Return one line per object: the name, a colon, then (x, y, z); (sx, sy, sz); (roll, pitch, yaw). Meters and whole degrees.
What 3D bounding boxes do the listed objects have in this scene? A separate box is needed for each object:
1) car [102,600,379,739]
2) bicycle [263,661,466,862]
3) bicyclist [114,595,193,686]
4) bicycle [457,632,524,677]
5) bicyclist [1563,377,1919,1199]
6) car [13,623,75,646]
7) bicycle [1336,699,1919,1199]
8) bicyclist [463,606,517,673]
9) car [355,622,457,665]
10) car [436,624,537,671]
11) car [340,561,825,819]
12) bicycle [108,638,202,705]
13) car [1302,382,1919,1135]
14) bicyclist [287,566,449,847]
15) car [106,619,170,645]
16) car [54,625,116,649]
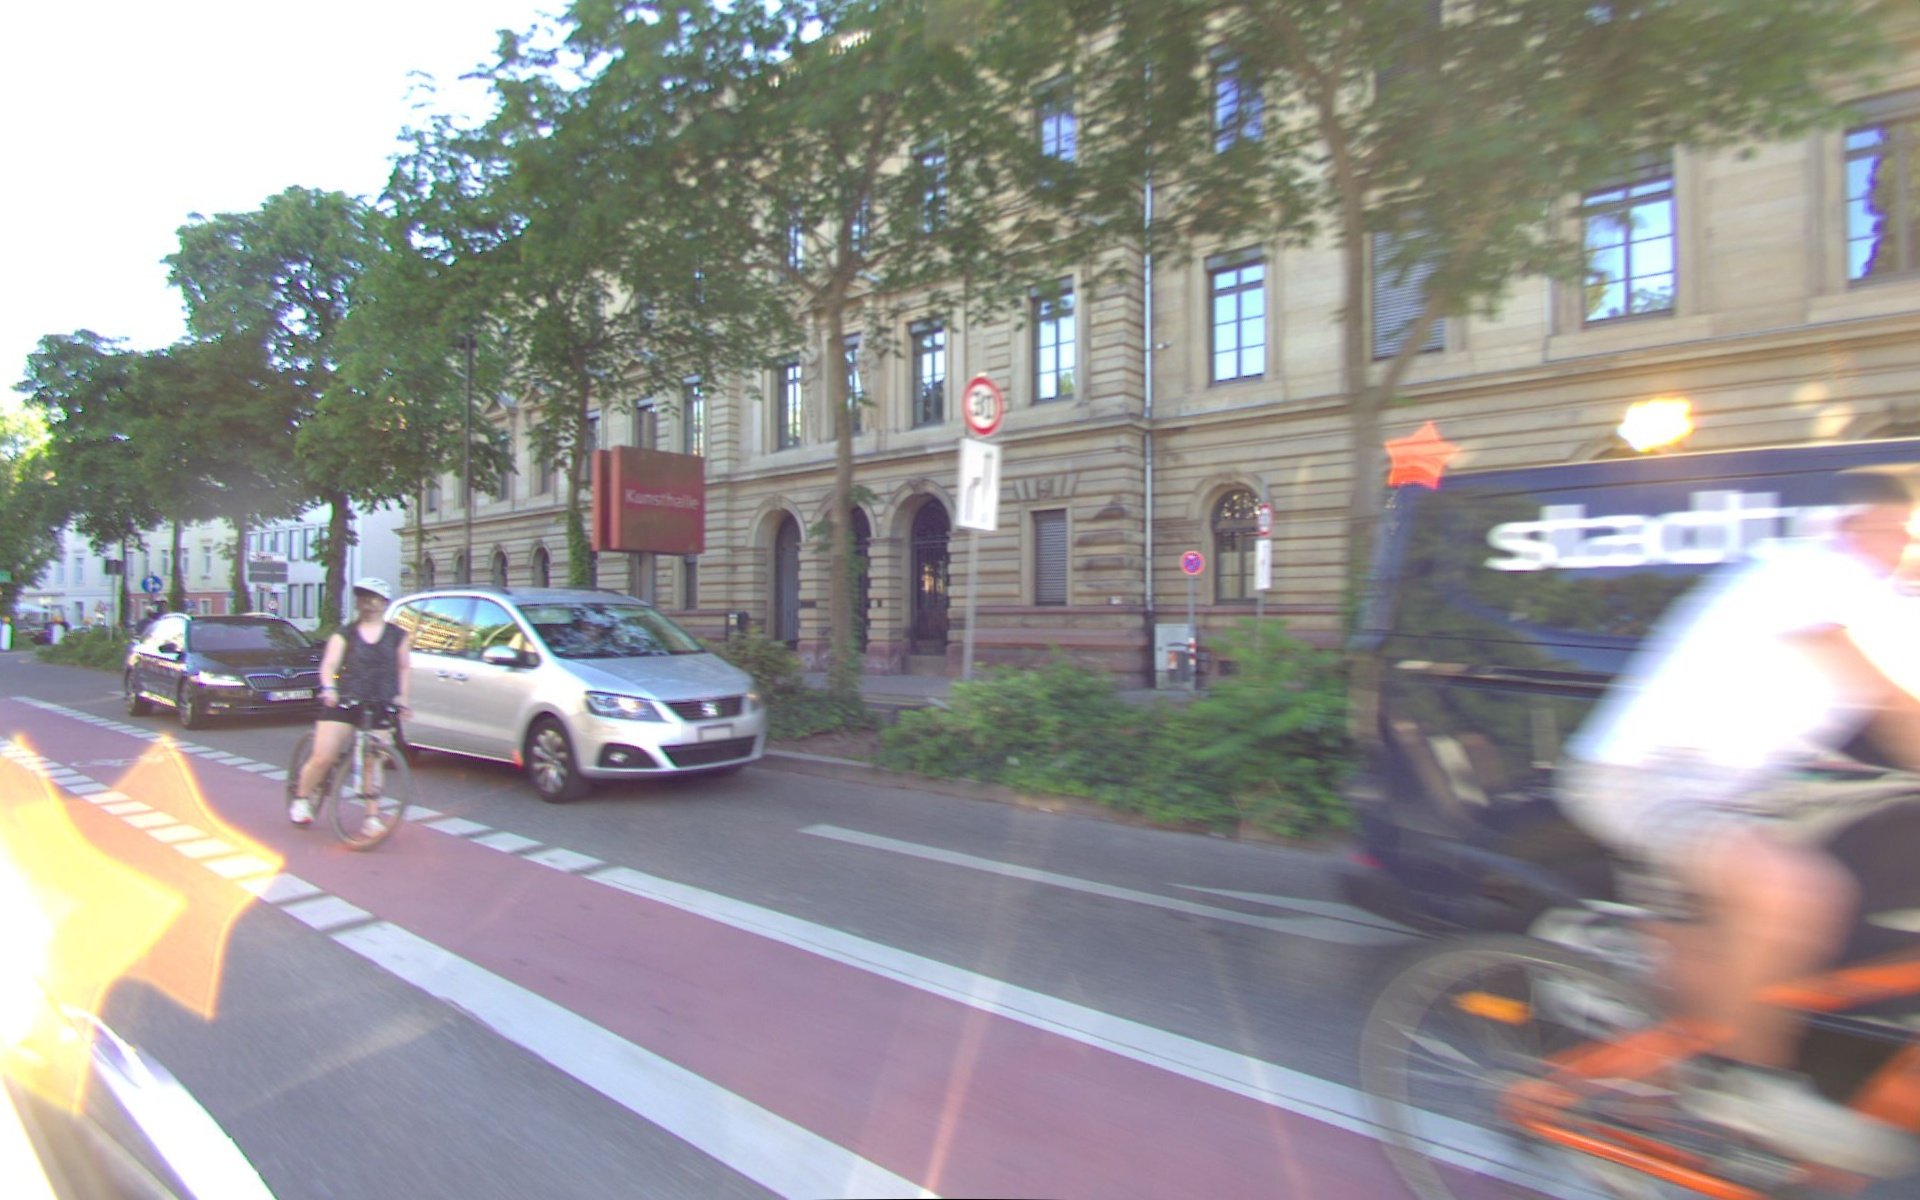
car: (-10.339, 0.886, 14.408); (4.731, 1.670, 1.974); (-1, -2, 39)
bicycle: (-3.939, 0.974, 6.636); (1.752, 1.081, 0.662); (-1, -1, 42)
bicyclist: (-14.331, 0.692, 17.978); (1.230, 1.535, 0.859); (-1, 0, 41)
bicycle: (-13.430, 1.536, 28.931); (2.174, 1.203, 0.871); (-1, -5, 41)
bicyclist: (1.691, 0.477, 1.872); (0.825, 1.620, 0.794); (-1, -2, 43)
car: (-63.877, 2.414, 70.580); (4.369, 1.583, 1.802); (-1, -2, 28)
bicycle: (1.797, 0.830, 1.771); (1.970, 1.152, 0.819); (-1, -1, 43)
bicyclist: (-13.482, 1.123, 29.025); (1.285, 1.848, 0.871); (-1, -5, 41)
car: (-21.056, 1.646, 38.383); (4.641, 1.519, 1.859); (-1, -4, 41)
car: (-16.143, 1.580, 34.423); (3.844, 1.519, 1.651); (-1, -2, 40)
car: (-3.591, 0.674, 9.190); (4.741, 1.763, 1.972); (-1, -2, 38)
bicycle: (-14.275, 1.230, 17.914); (2.452, 1.050, 0.861); (-1, 0, 41)
car: (3.797, 0.420, 2.804); (5.030, 1.930, 2.047); (0, -2, 40)
bicyclist: (-3.834, 0.637, 6.551); (0.887, 1.665, 0.665); (-1, -1, 41)
car: (-51.592, 2.002, 63.513); (4.139, 1.583, 1.788); (-1, -2, 31)
car: (-58.995, 2.484, 68.240); (4.173, 1.499, 1.756); (-1, -1, 27)
